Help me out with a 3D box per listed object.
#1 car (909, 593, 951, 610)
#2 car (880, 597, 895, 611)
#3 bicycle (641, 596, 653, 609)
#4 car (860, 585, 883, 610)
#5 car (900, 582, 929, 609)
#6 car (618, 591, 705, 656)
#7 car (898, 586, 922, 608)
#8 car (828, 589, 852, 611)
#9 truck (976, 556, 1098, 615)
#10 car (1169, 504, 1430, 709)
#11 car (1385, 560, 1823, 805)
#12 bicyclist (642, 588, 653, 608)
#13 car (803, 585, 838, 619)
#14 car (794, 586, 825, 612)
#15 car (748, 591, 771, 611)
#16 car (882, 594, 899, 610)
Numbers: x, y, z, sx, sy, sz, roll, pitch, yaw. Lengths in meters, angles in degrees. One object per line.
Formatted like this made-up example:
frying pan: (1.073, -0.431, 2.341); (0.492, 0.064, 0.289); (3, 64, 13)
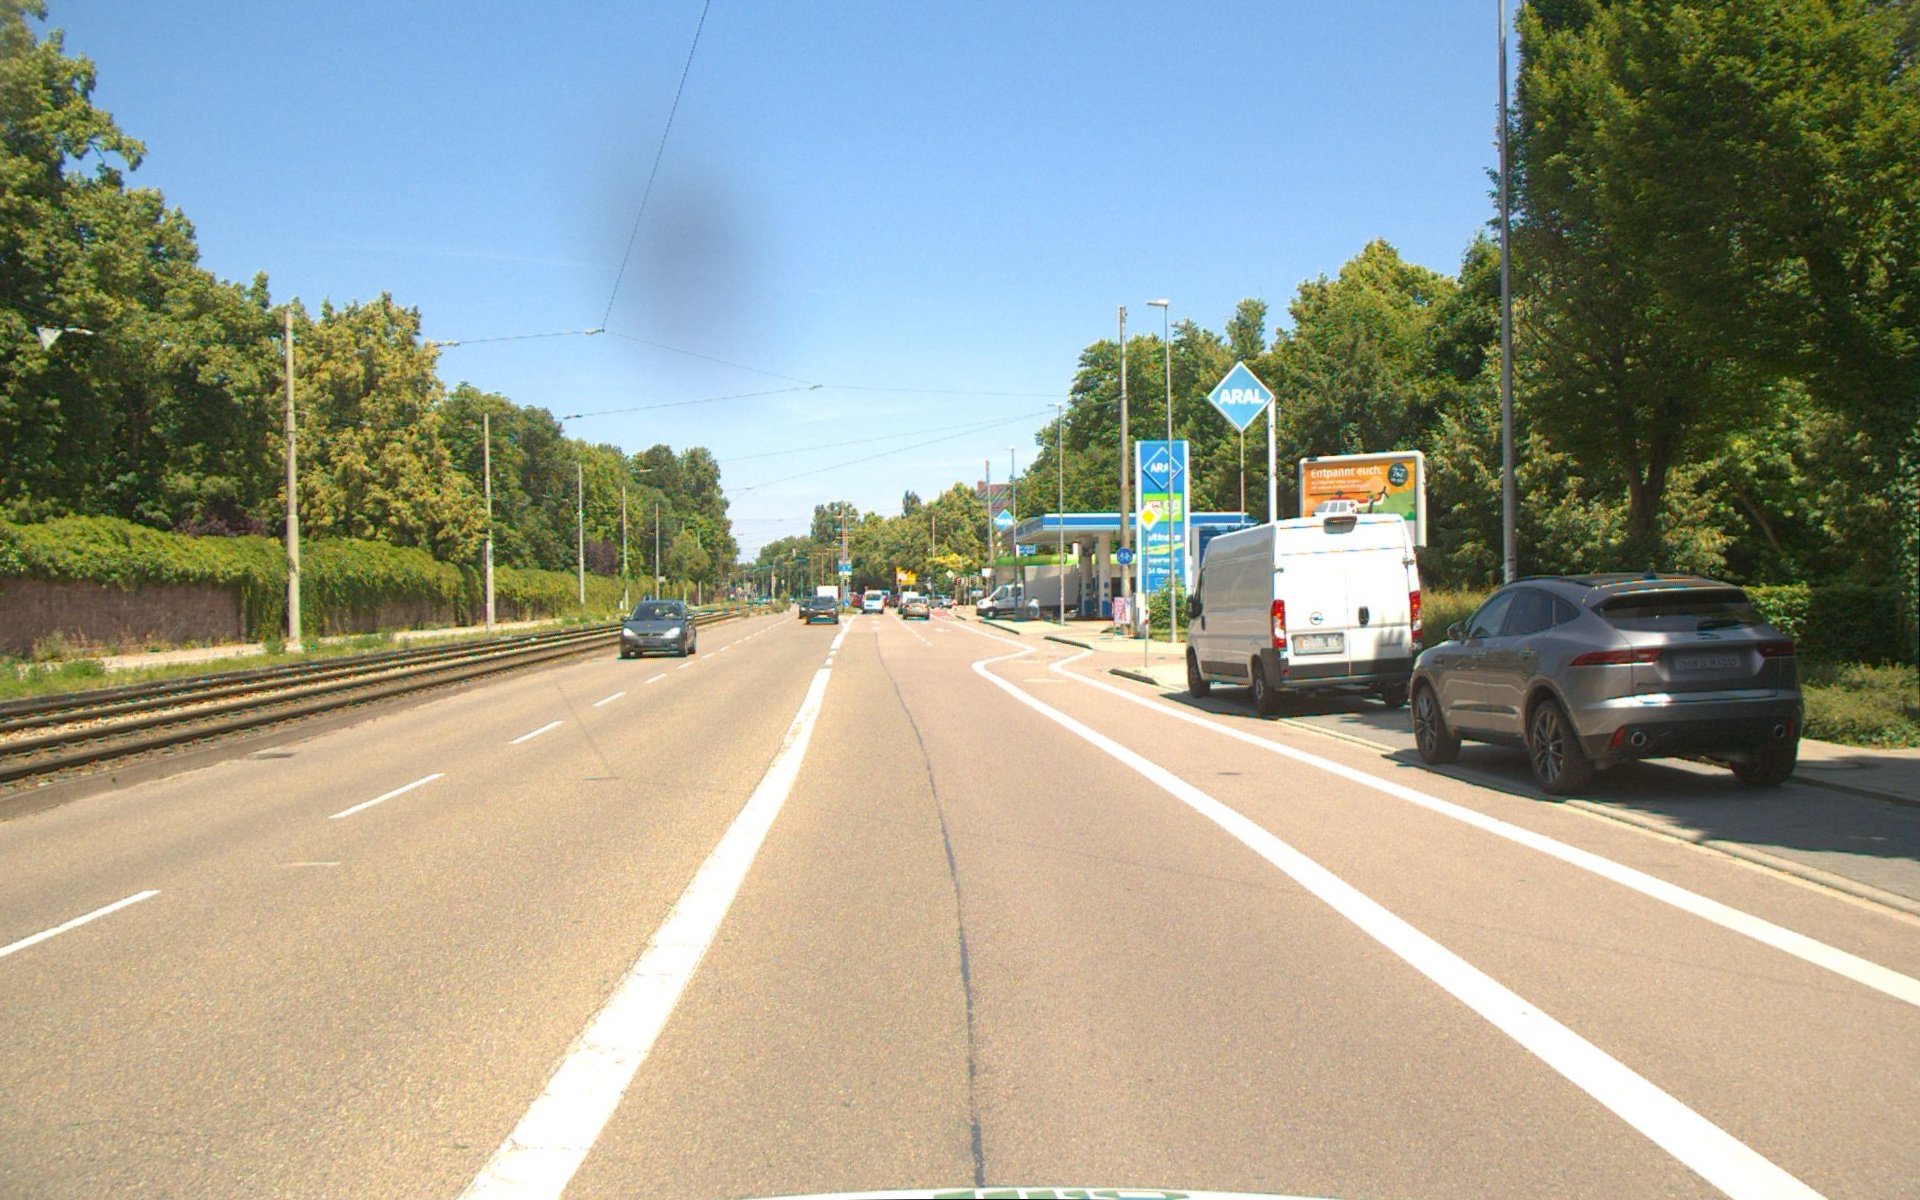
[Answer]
car: (-3.274, 0.182, 182.394); (4.218, 1.659, 1.763); (-3, 1, 16)
car: (-9.167, 0.503, 207.756); (1.721, 1.659, 4.320); (-3, 1, -4)
bicycle: (-26.968, 0.199, 142.727); (0.668, 1.072, 2.007); (-5, 0, -3)
car: (-7.159, -0.201, 133.668); (1.721, 1.907, 4.320); (-3, 1, -4)
car: (-3.086, -0.316, 111.854); (1.721, 1.659, 4.320); (-3, 1, -4)
car: (-7.866, 0.574, 43.947); (1.721, 1.535, 4.320); (-3, 1, -4)
car: (-4.092, -0.229, 134.769); (1.721, 1.659, 4.320); (-3, 1, -4)
car: (-9.500, -0.025, 131.236); (1.721, 1.659, 4.322); (-3, 1, -2)
truck: (5.045, -0.958, 108.294); (7.802, 3.665, 2.663); (-1, 0, 2)
car: (4.715, 0.062, 24.090); (1.962, 2.499, 6.103); (-3, 1, -5)
car: (5.192, 0.573, 14.039); (1.721, 1.659, 4.320); (-3, 1, -4)
bicyclist: (-26.992, -0.179, 142.740); (0.668, 1.601, 0.795); (-5, -1, -4)
car: (-7.433, 0.102, 88.404); (1.721, 1.659, 4.320); (-3, 1, -4)
car: (-10.172, -0.066, 111.658); (1.723, 1.659, 4.315); (-3, 1, -9)
car: (-17.681, 0.104, 145.844); (1.723, 1.659, 4.315); (-3, 1, -9)
car: (-8.062, 0.251, 190.993); (1.721, 1.659, 4.320); (-3, 1, -4)
